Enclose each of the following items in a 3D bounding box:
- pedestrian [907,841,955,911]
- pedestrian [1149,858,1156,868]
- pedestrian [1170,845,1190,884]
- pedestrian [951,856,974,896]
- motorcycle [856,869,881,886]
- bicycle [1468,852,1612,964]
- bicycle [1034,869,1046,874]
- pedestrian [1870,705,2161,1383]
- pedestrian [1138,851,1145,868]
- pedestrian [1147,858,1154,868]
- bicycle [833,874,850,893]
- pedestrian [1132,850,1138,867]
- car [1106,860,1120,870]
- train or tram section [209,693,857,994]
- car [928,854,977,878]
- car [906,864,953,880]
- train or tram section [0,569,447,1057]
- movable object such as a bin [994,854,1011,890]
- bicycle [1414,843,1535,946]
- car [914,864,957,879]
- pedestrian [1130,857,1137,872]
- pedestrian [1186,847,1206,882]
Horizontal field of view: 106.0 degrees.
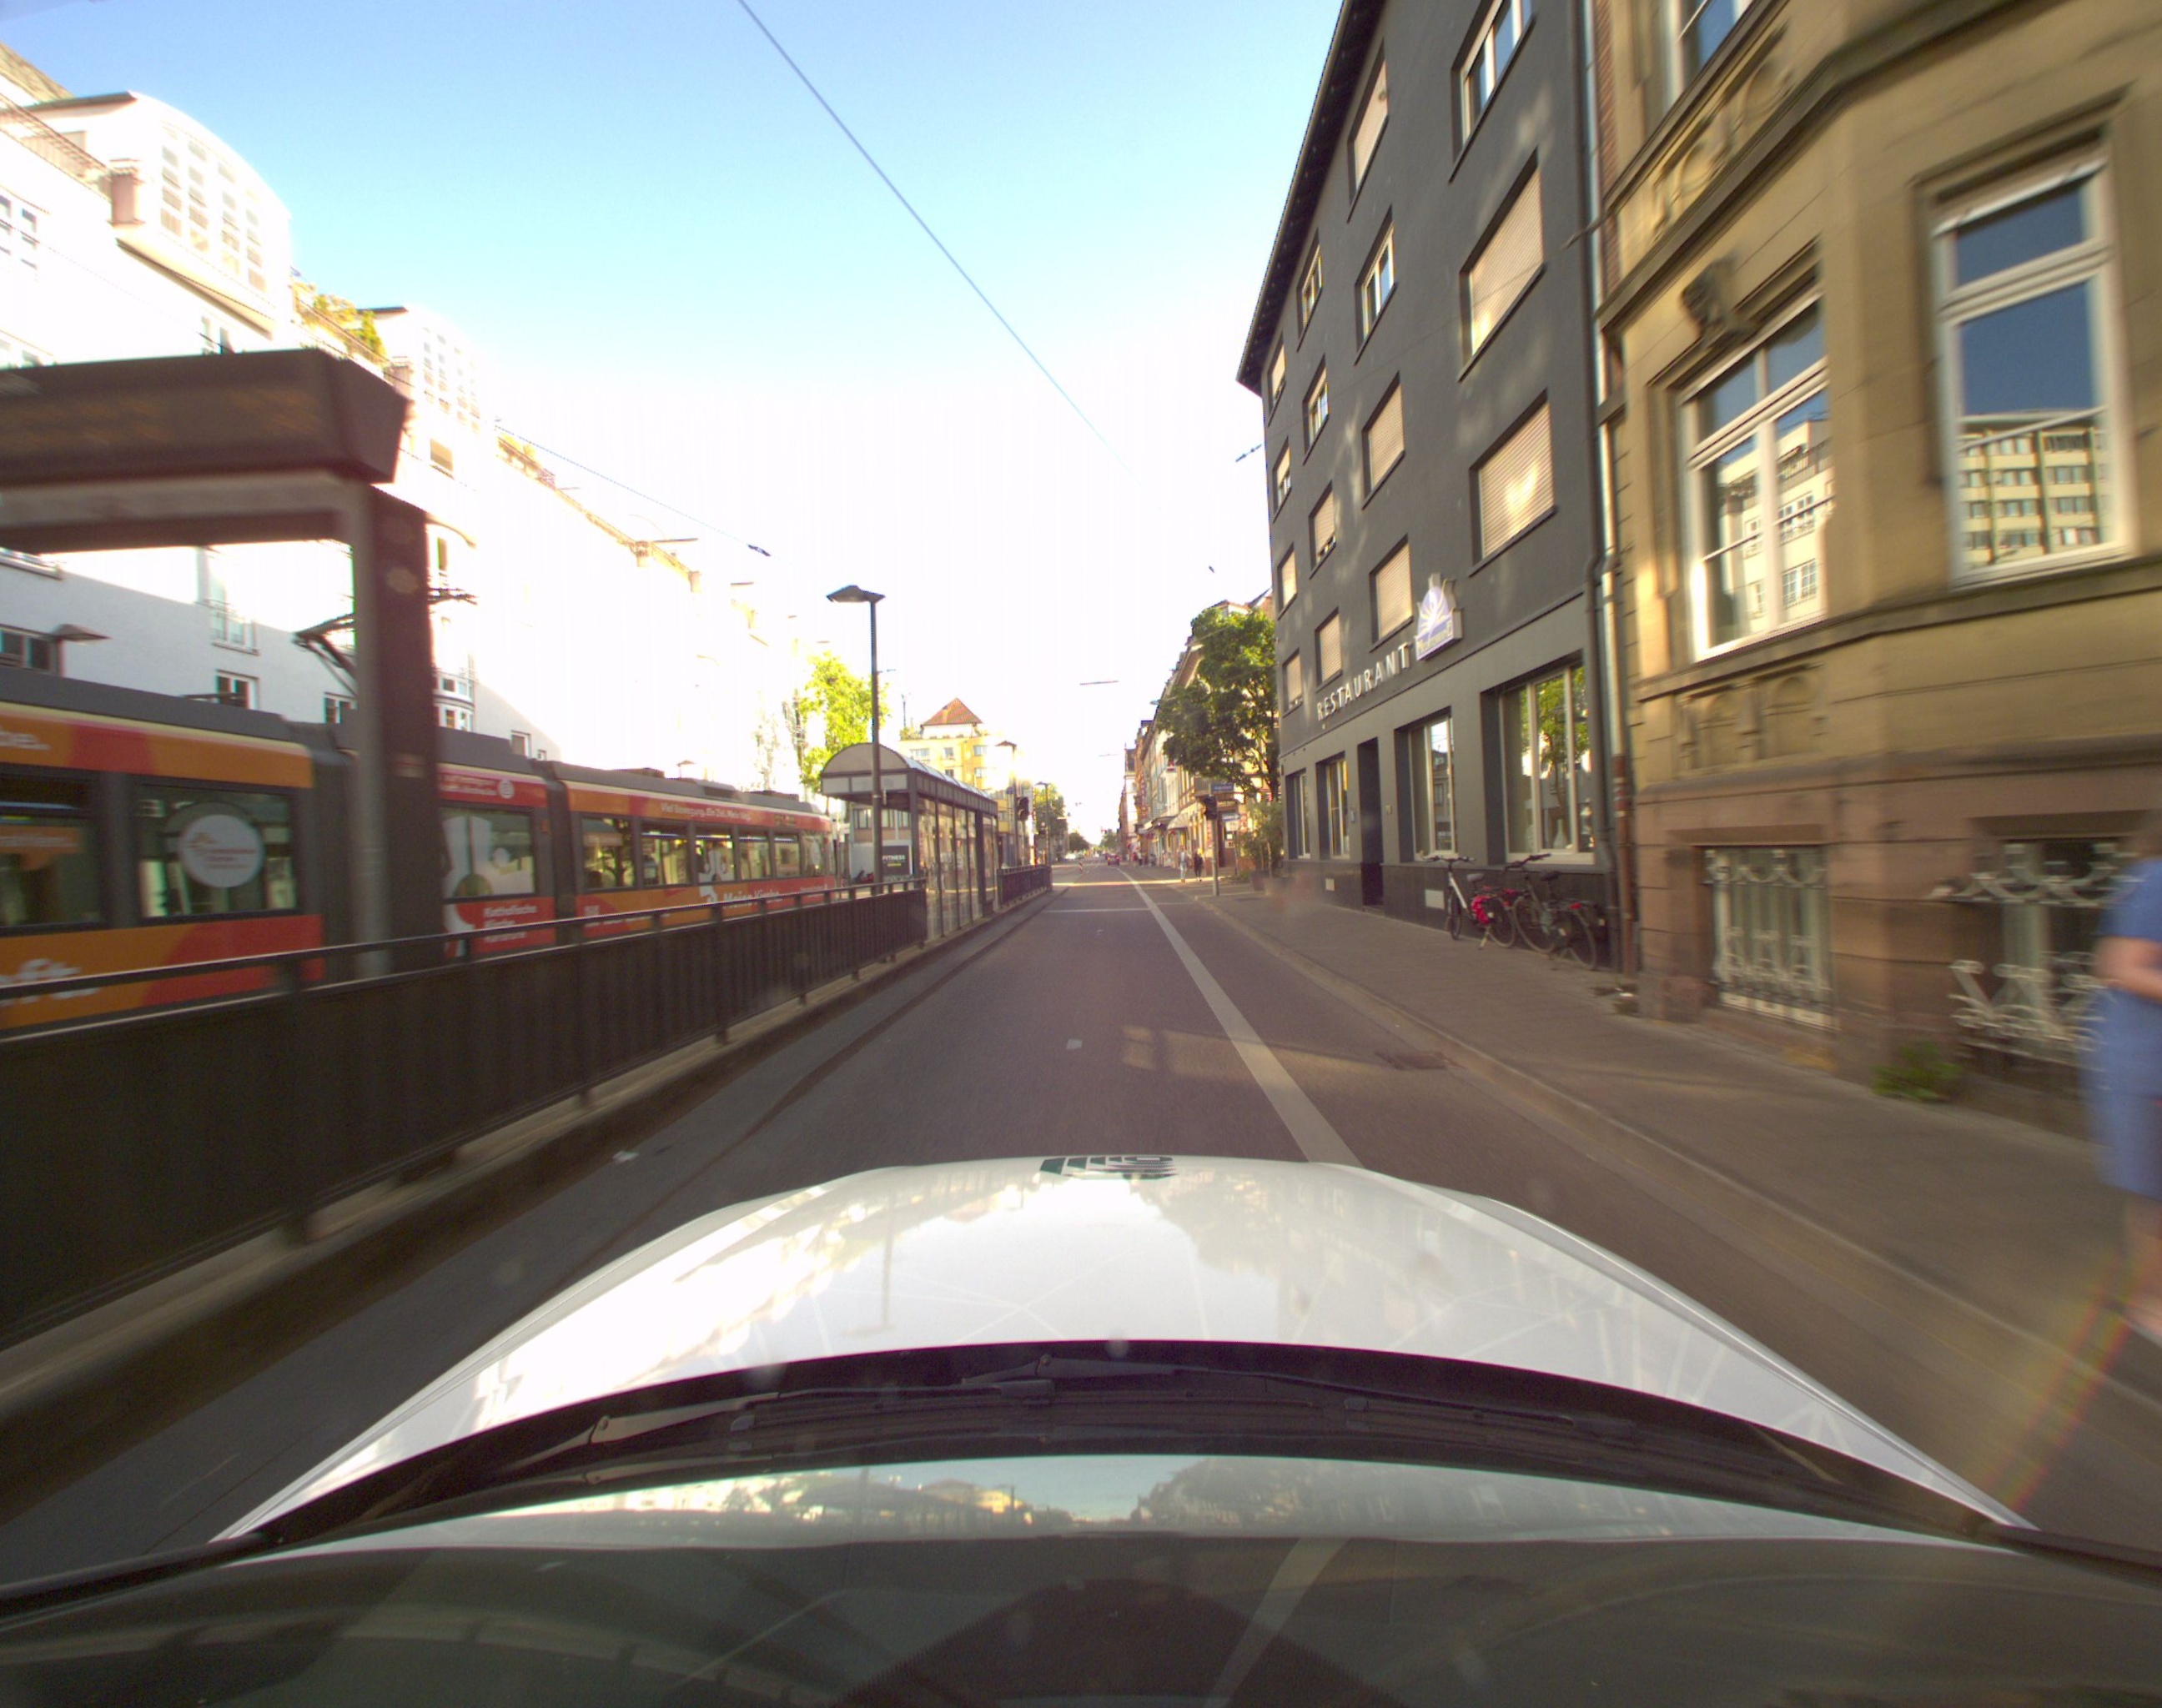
[{"bbox_3d":[-2.621,0.378,14.278,0.682,1.176,0.537,-2,-1,2],"label":"pedestrian"},{"bbox_3d":[7.485,0.967,85.389,0.687,1.043,0.681,-2,-1,6],"label":"pedestrian"},{"bbox_3d":[4.626,0.479,38.145,0.711,1.774,0.772,-4,0,-2],"label":"pedestrian"},{"bbox_3d":[-5.132,0.936,35.259,0.866,1.714,0.787,1,0,-1],"label":"pedestrian"},{"bbox_3d":[-16.768,1.820,64.179,1.791,1.298,0.605,1,-1,-5],"label":"motorcycle"},{"bbox_3d":[4.962,0.536,8.948,0.588,1.070,1.806,-4,0,4],"label":"bicycle"},{"bbox_3d":[-7.590,3.226,150.562,1.918,1.003,0.758,-2,-1,19],"label":"bicycle"},{"bbox_3d":[2.976,0.448,2.220,0.760,1.645,0.832,-3,0,1],"label":"pedestrian"},{"bbox_3d":[6.410,0.600,86.388,0.645,1.796,0.562,-2,-1,6],"label":"pedestrian"},{"bbox_3d":[7.416,0.988,86.355,0.687,1.043,0.681,-2,-1,6],"label":"pedestrian"},{"bbox_3d":[-15.142,1.860,51.536,0.496,1.107,1.801,1,0,2],"label":"bicycle"},{"bbox_3d":[5.726,0.479,86.614,0.556,1.796,0.652,-2,-1,8],"label":"pedestrian"},{"bbox_3d":[4.784,1.575,121.179,1.986,1.449,4.001,-1,-1,1],"label":"car"},{"bbox_3d":[-8.630,-0.075,17.213,2.873,3.490,14.960,-2,0,3],"label":"train or tram section"},{"bbox_3d":[-14.357,1.362,91.222,5.085,2.576,2.129,-1,-1,2],"label":"car"},{"bbox_3d":[-15.008,1.759,80.785,4.303,1.510,1.801,-1,-1,2],"label":"car"},{"bbox_3d":[-9.241,-0.269,2.638,2.874,3.490,14.171,-2,0,2],"label":"train or tram section"},{"bbox_3d":[-2.065,0.473,21.523,0.351,0.944,0.530,-2,-1,1],"label":"movable object such as a bin"},{"bbox_3d":[5.163,0.493,10.834,0.621,1.198,1.907,-4,0,0],"label":"bicycle"},{"bbox_3d":[-14.903,1.780,83.531,3.971,1.510,1.801,-1,-1,2],"label":"car"},{"bbox_3d":[6.824,1.407,106.079,0.840,1.918,0.661,-1,-1,0],"label":"pedestrian"},{"bbox_3d":[5.365,0.478,38.038,0.711,1.602,0.772,-4,0,-2],"label":"pedestrian"}]
